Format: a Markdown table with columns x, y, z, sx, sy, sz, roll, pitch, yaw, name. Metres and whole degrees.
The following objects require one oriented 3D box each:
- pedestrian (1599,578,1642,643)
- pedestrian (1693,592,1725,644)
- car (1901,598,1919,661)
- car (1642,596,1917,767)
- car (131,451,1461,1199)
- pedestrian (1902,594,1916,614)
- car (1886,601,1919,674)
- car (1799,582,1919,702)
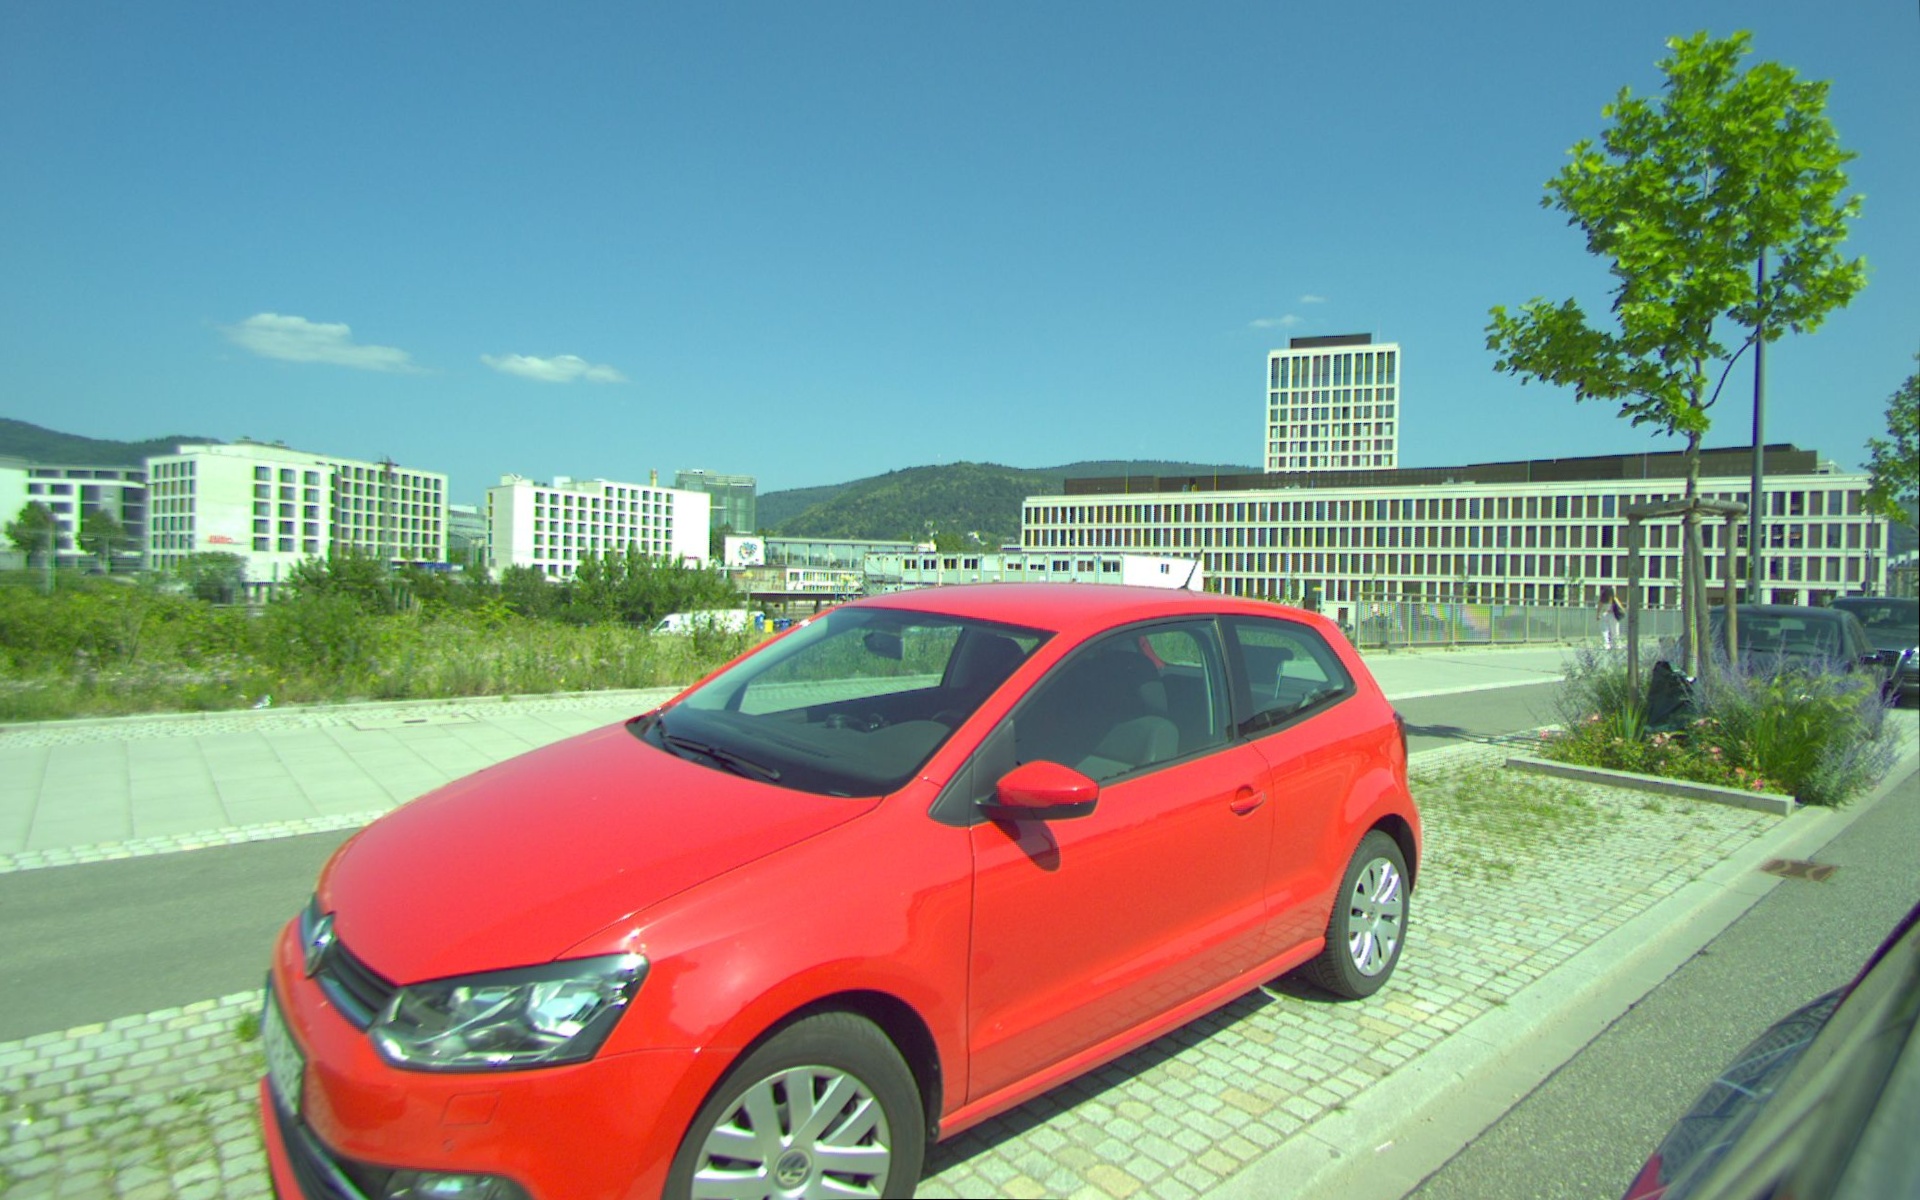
| x | y | z | sx | sy | sz | roll | pitch | yaw | name |
| --- | --- | --- | --- | --- | --- | --- | --- | --- | --- |
| 18.175 | 0.280 | 27.851 | 0.729 | 1.726 | 0.782 | 1 | 1 | -40 | pedestrian |
| 25.590 | 0.605 | 34.597 | 0.639 | 1.727 | 0.733 | -1 | 0 | -40 | pedestrian |
| 27.101 | 0.828 | 27.329 | 4.466 | 1.637 | 1.913 | 1 | 0 | -40 | car |
| 8.724 | 0.704 | 10.644 | 4.168 | 1.447 | 1.635 | 1 | 0 | -42 | car |
| -0.100 | 0.577 | 3.272 | 3.930 | 1.470 | 1.720 | 1 | -1 | -41 | car |
| 88.070 | 0.356 | 93.897 | 0.823 | 1.805 | 0.913 | 2 | 2 | 41 | pedestrian |
| 21.596 | 0.818 | 22.141 | 3.753 | 1.510 | 1.606 | 0 | 2 | -43 | car |
| 14.640 | 0.594 | 15.798 | 4.168 | 1.628 | 1.737 | 0 | 2 | -42 | car |
